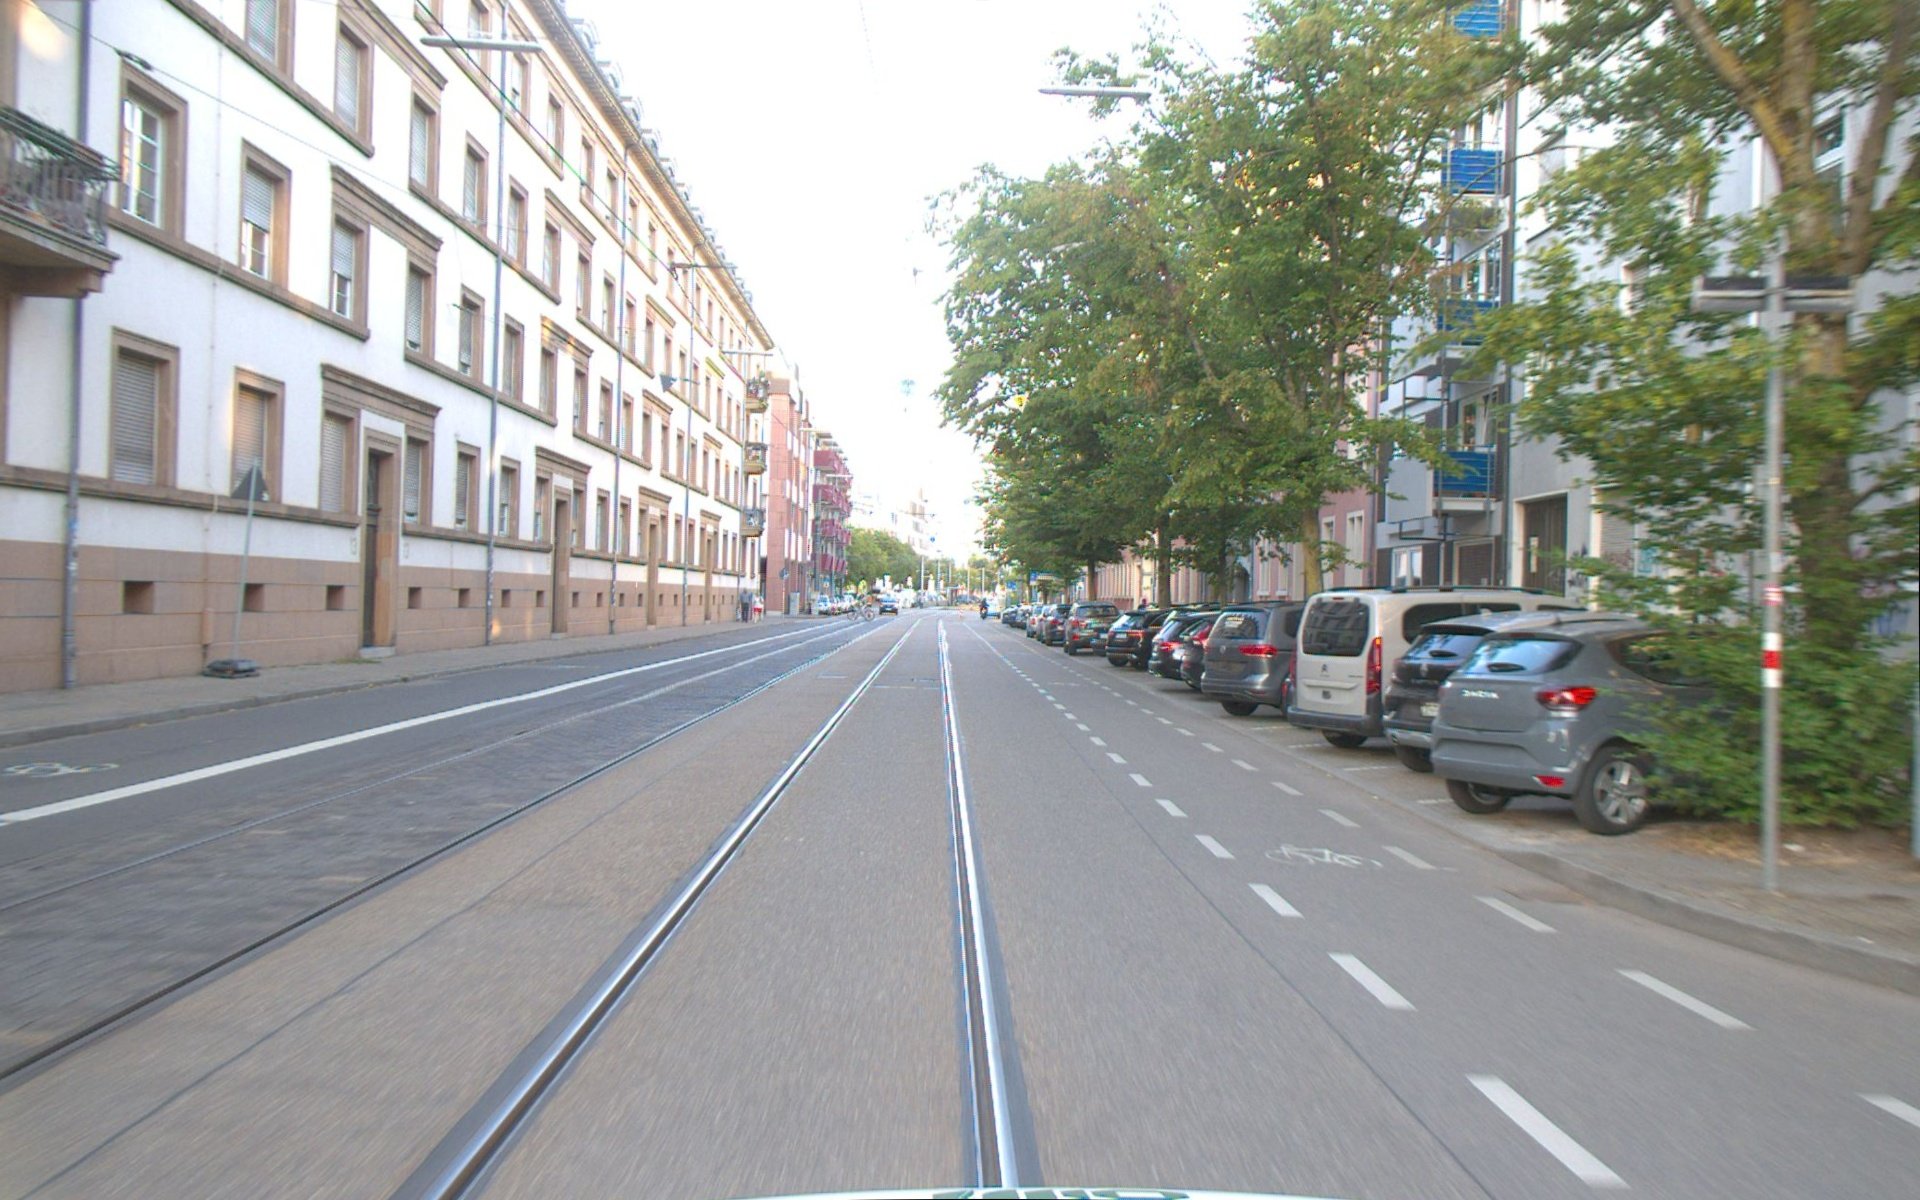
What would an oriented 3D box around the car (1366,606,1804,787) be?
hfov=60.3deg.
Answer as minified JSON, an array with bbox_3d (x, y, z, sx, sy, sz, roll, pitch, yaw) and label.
[{"bbox_3d":[6.131,0.906,16.239,3.932,1.594,1.708,2,0,-23],"label":"car"}]

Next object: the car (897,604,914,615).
[{"bbox_3d":[-7.603,1.303,230.873,1.647,1.464,4.129,1,0,6],"label":"car"}]

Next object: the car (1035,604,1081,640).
[{"bbox_3d":[4.006,0.878,68.302,1.743,1.405,4.691,-1,0,1],"label":"car"}]

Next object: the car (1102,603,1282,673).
[{"bbox_3d":[5.497,0.879,39.319,3.900,1.580,1.711,0,1,-19],"label":"car"}]

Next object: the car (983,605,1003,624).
[{"bbox_3d":[2.963,1.264,148.903,1.681,1.583,4.204,2,0,1],"label":"car"}]

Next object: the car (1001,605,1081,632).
[{"bbox_3d":[4.881,1.095,99.395,4.385,1.543,2.048,0,0,-24],"label":"car"}]

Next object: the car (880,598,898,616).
[{"bbox_3d":[-6.213,0.598,144.217,1.528,1.585,3.752,0,0,-4],"label":"car"}]

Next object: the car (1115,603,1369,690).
[{"bbox_3d":[5.146,0.815,30.266,4.310,1.489,1.711,0,0,-19],"label":"car"}]

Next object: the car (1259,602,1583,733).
[{"bbox_3d":[6.092,0.851,21.880,3.932,1.594,1.708,1,0,-23],"label":"car"}]

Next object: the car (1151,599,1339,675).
[{"bbox_3d":[6.482,0.816,37.634,3.932,1.621,1.708,0,1,-22],"label":"car"}]

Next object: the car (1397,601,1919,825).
[{"bbox_3d":[5.673,0.846,13.187,3.928,1.567,1.769,1,0,-21],"label":"car"}]

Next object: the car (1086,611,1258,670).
[{"bbox_3d":[5.427,1.030,42.291,4.198,1.412,1.607,1,0,-27],"label":"car"}]

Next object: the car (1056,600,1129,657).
[{"bbox_3d":[4.091,0.855,51.701,1.841,1.646,4.261,-1,0,-1],"label":"car"}]

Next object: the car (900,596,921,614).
[{"bbox_3d":[-7.081,0.760,236.563,2.409,2.526,5.810,1,0,3],"label":"car"}]

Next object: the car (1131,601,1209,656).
[{"bbox_3d":[6.543,0.860,51.981,1.841,1.612,4.019,1,0,-1],"label":"car"}]

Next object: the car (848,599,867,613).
[{"bbox_3d":[-14.009,0.825,226.498,1.647,1.729,4.242,1,0,8],"label":"car"}]

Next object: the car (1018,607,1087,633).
[{"bbox_3d":[5.127,1.100,91.634,3.511,1.454,1.655,0,0,-26],"label":"car"}]

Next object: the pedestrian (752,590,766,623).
[{"bbox_3d":[-10.026,0.330,82.468,0.579,1.638,0.811,1,0,-3],"label":"pedestrian"}]

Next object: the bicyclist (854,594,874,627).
[{"bbox_3d":[-6.146,0.676,105.865,1.191,2.049,0.945,2,0,-9],"label":"bicyclist"}]

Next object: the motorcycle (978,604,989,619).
[{"bbox_3d":[1.933,0.962,138.175,0.811,1.261,2.492,1,0,3],"label":"motorcycle"}]

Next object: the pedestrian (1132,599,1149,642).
[{"bbox_3d":[7.958,0.903,72.861,0.666,1.848,0.600,1,-1,0],"label":"pedestrian"}]

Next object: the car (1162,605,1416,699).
[{"bbox_3d":[5.562,0.847,28.034,3.926,1.489,1.711,0,0,-19],"label":"car"}]

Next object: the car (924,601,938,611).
[{"bbox_3d":[-4.492,0.946,255.888,1.647,1.464,4.129,1,0,6],"label":"car"}]

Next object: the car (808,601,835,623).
[{"bbox_3d":[-10.674,0.903,127.989,1.682,1.583,4.203,3,0,0],"label":"car"}]

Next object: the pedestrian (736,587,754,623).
[{"bbox_3d":[-10.738,0.248,82.575,0.779,1.731,0.981,1,0,-3],"label":"pedestrian"}]

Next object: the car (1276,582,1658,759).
[{"bbox_3d":[5.757,0.718,18.799,3.932,1.847,1.812,0,0,-22],"label":"car"}]

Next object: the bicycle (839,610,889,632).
[{"bbox_3d":[-6.127,1.347,105.864,3.112,1.378,0.955,1,-1,-9],"label":"bicycle"}]

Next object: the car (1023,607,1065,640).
[{"bbox_3d":[3.743,1.041,74.104,1.586,1.405,3.775,-1,0,-1],"label":"car"}]

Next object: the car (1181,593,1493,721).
[{"bbox_3d":[5.453,0.774,23.941,4.120,1.726,1.835,0,0,-22],"label":"car"}]

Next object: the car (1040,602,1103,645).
[{"bbox_3d":[4.064,0.836,61.097,1.953,1.515,5.035,0,0,0],"label":"car"}]
